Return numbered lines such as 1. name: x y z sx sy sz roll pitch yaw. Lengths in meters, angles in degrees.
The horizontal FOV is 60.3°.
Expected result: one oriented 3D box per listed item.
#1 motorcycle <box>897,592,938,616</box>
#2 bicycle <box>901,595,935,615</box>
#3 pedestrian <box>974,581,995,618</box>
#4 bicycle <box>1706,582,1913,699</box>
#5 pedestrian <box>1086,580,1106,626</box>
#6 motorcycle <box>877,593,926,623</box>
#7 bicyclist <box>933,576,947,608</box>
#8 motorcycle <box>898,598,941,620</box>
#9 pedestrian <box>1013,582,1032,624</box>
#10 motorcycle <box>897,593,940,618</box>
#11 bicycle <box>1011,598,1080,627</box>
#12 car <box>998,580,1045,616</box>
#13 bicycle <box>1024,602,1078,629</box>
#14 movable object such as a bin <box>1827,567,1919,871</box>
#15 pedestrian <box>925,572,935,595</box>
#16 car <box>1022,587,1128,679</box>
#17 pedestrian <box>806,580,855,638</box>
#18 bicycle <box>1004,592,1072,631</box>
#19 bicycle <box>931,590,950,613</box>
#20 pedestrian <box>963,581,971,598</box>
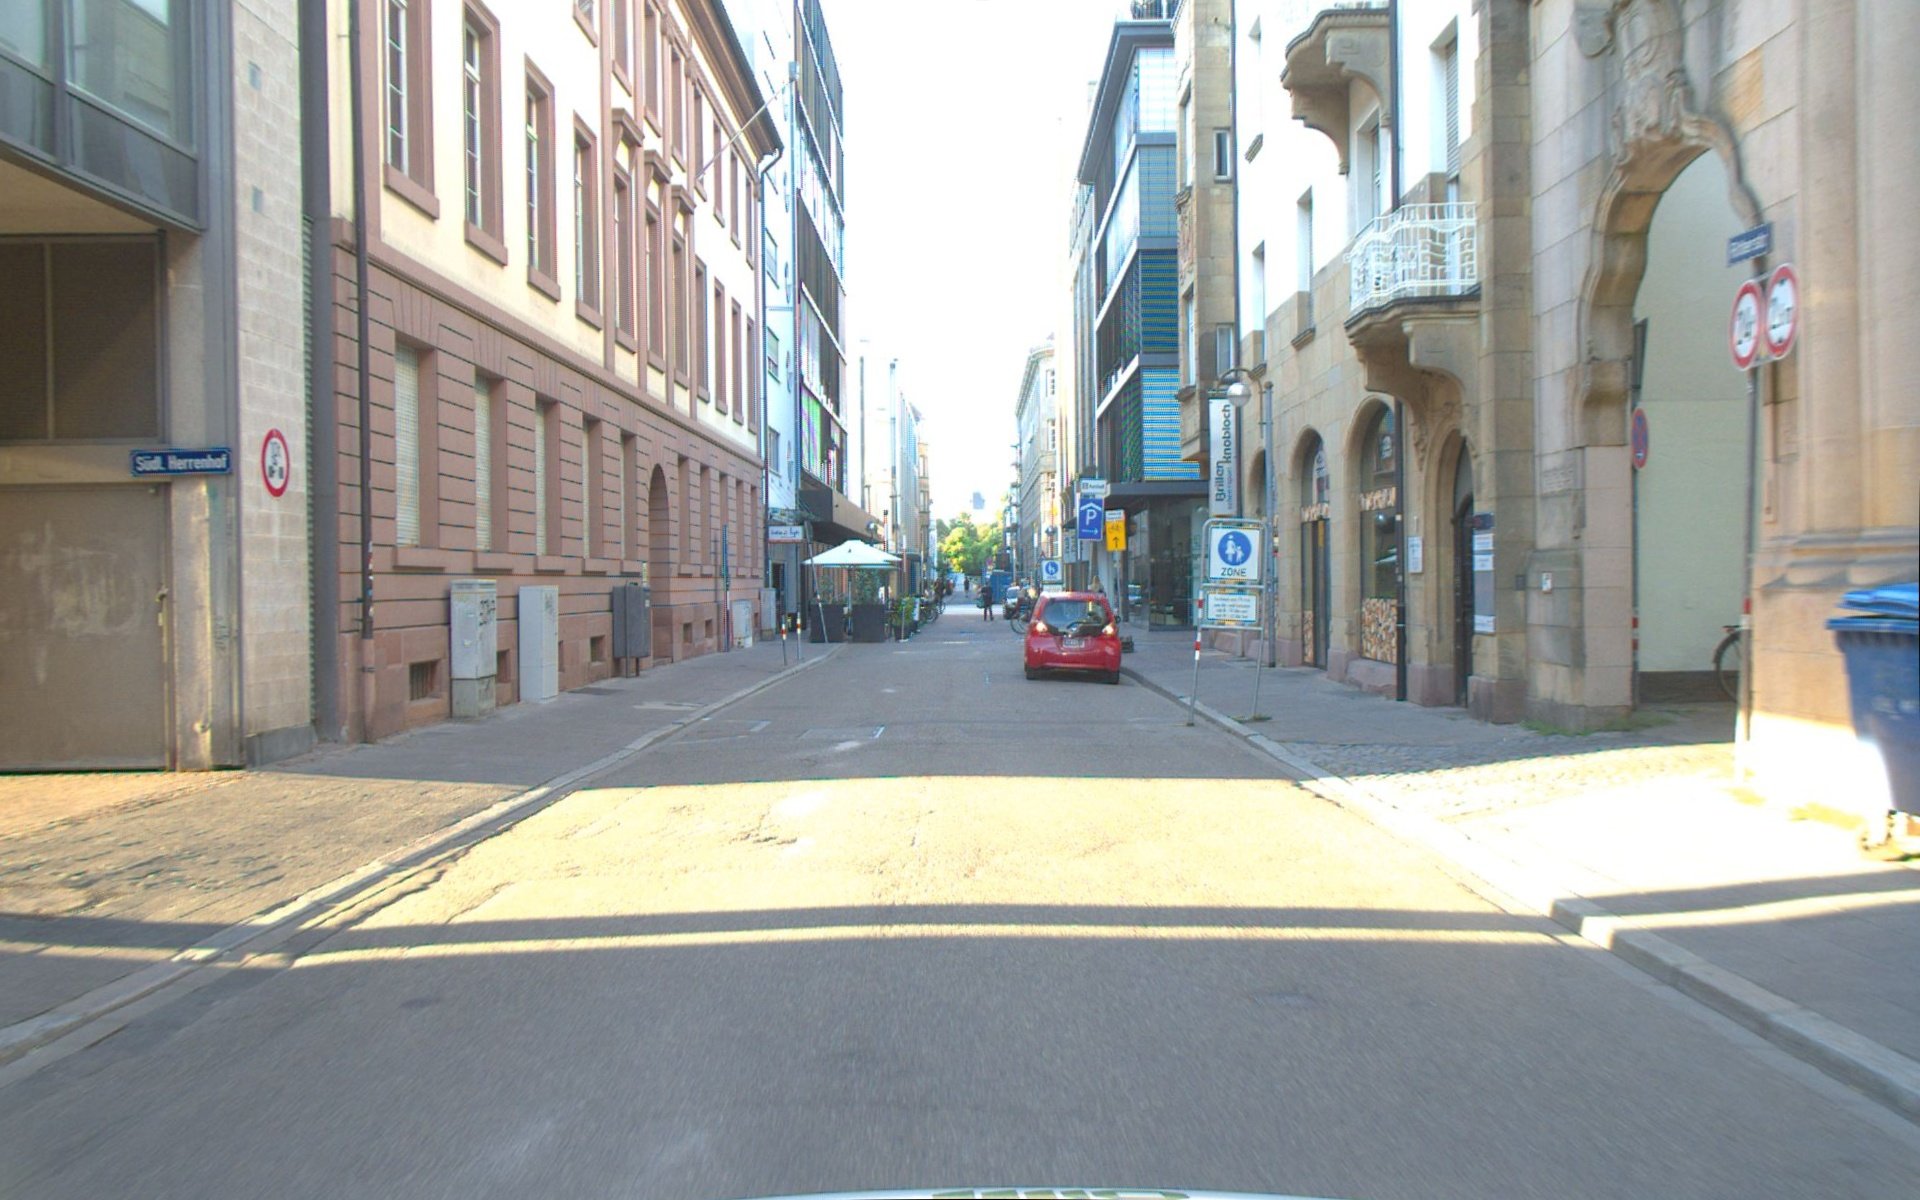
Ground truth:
1. motorcycle: -1.838 0.172 71.326 1.766 1.007 0.560 -1 0 -4
2. bicycle: -1.917 0.229 75.336 1.500 0.912 0.481 -1 0 -28
3. pedestrian: 1.122 -0.030 77.316 0.849 1.743 0.851 -1 0 -8
4. bicycle: 8.202 0.383 15.998 1.774 1.085 0.443 -1 0 -1
5. pedestrian: 4.527 0.100 55.066 0.643 1.513 0.493 -1 0 2
6. motorcycle: -2.137 0.295 60.473 1.766 1.059 0.493 -1 0 -4
7. bicyclist: -1.029 -0.419 85.865 0.624 1.669 0.770 -1 0 -9
8. motorcycle: -1.680 0.383 68.663 1.766 0.891 0.560 -1 0 -4
9. pedestrian: 2.491 0.121 65.824 0.623 1.648 0.464 0 0 40
10. motorcycle: -1.755 0.237 69.692 1.766 1.007 0.560 -1 0 -4
11. bicycle: 2.763 0.401 53.360 2.156 0.921 0.649 -1 0 -3
12. car: 2.880 -0.095 78.265 1.953 1.639 3.999 -1 1 -1
13. bicycle: 2.689 0.460 49.066 1.534 0.782 0.557 -1 0 -3
14. movable object such as a bin: 4.958 0.546 7.885 0.970 1.416 1.240 -2 1 0
15. pedestrian: -2.179 -1.215 119.504 0.664 1.651 0.626 -1 0 2
16. car: 1.943 0.522 28.807 1.615 1.452 3.536 2 1 1
17. pedestrian: -3.482 0.236 44.535 1.264 1.513 0.661 -1 0 -2
18. bicycle: 2.378 0.351 50.609 2.011 1.154 0.649 -1 0 -3
19. bicycle: -1.017 0.072 85.790 0.624 1.177 2.497 -1 0 -8
20. pedestrian: 0.716 -1.101 170.054 0.788 1.702 0.888 -1 0 2
